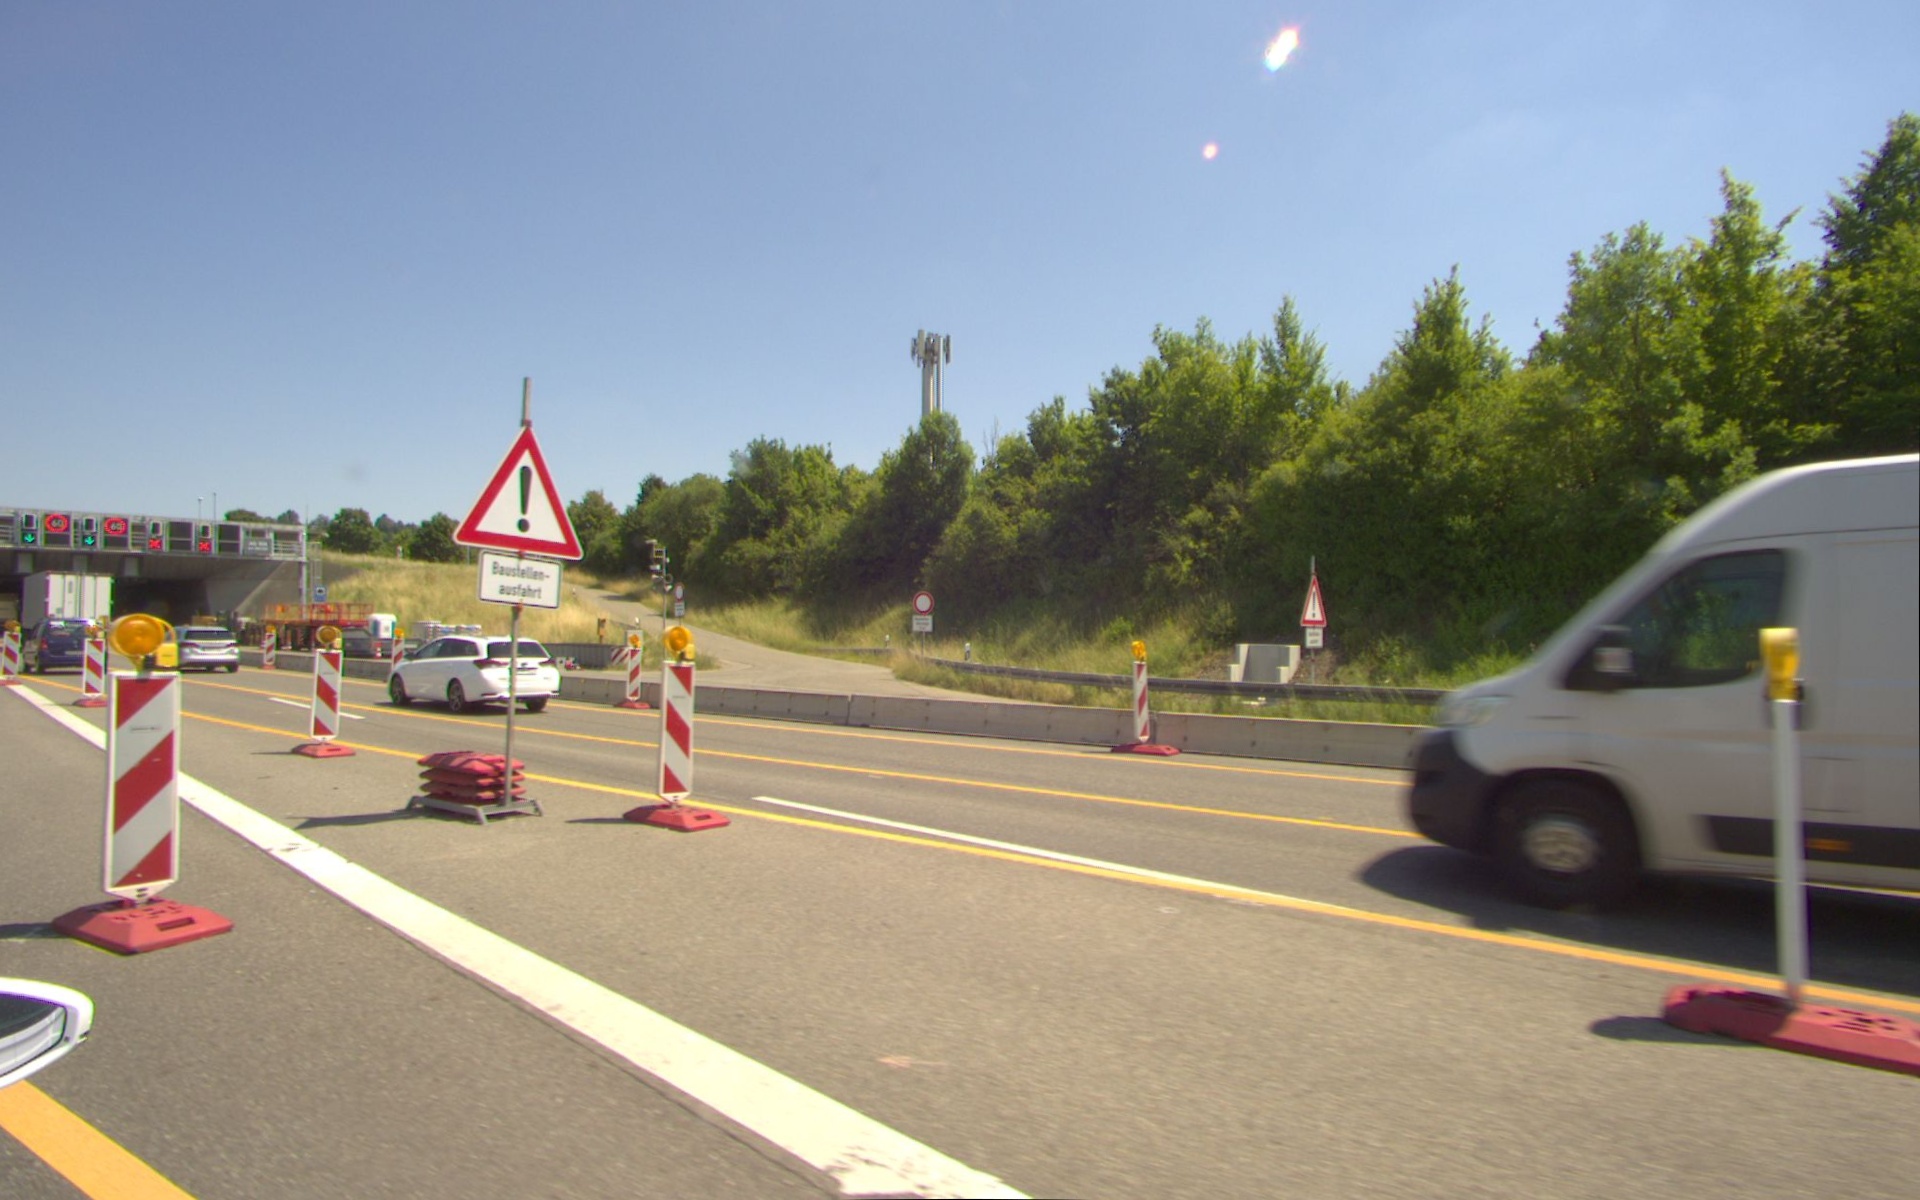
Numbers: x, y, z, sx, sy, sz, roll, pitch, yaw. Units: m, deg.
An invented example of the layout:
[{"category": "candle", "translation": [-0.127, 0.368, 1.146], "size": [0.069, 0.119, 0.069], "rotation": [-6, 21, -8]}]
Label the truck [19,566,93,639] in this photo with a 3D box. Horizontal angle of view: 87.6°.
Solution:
[{"category": "truck", "translation": [-53.736, 0.267, 59.503], "size": [5.864, 4.084, 2.731], "rotation": [-2, -3, 43]}]

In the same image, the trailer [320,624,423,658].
[{"category": "trailer", "translation": [-31.153, 2.124, 52.956], "size": [6.156, 1.589, 2.585], "rotation": [-1, 0, 38]}]

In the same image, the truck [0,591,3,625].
[{"category": "truck", "translation": [-123.908, 1.031, 126.101], "size": [16.350, 4.122, 3.387], "rotation": [-2, -3, 42]}]

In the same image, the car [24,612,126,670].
[{"category": "car", "translation": [-27.096, 1.255, 30.602], "size": [4.601, 1.663, 1.806], "rotation": [-2, -3, 42]}]

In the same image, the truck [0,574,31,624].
[{"category": "truck", "translation": [-95.518, 0.019, 99.184], "size": [16.352, 4.388, 3.387], "rotation": [-2, -4, 42]}]

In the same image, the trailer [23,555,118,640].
[{"category": "trailer", "translation": [-48.756, 0.095, 54.686], "size": [13.948, 4.113, 2.718], "rotation": [-2, -3, 44]}]

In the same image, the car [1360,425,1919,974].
[{"category": "car", "translation": [5.741, 0.488, 5.175], "size": [6.499, 2.568, 2.259], "rotation": [-1, -2, 37]}]

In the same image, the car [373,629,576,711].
[{"category": "car", "translation": [-9.884, 1.405, 20.243], "size": [4.595, 1.482, 1.810], "rotation": [-3, -5, 37]}]

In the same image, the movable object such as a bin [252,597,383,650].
[{"category": "movable object such as a bin", "translation": [-41.017, 1.480, 63.586], "size": [14.534, 3.050, 3.096], "rotation": [-1, 0, 41]}]

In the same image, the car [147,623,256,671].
[{"category": "car", "translation": [-25.035, 1.525, 33.016], "size": [4.596, 1.483, 1.808], "rotation": [-1, -3, 39]}]
